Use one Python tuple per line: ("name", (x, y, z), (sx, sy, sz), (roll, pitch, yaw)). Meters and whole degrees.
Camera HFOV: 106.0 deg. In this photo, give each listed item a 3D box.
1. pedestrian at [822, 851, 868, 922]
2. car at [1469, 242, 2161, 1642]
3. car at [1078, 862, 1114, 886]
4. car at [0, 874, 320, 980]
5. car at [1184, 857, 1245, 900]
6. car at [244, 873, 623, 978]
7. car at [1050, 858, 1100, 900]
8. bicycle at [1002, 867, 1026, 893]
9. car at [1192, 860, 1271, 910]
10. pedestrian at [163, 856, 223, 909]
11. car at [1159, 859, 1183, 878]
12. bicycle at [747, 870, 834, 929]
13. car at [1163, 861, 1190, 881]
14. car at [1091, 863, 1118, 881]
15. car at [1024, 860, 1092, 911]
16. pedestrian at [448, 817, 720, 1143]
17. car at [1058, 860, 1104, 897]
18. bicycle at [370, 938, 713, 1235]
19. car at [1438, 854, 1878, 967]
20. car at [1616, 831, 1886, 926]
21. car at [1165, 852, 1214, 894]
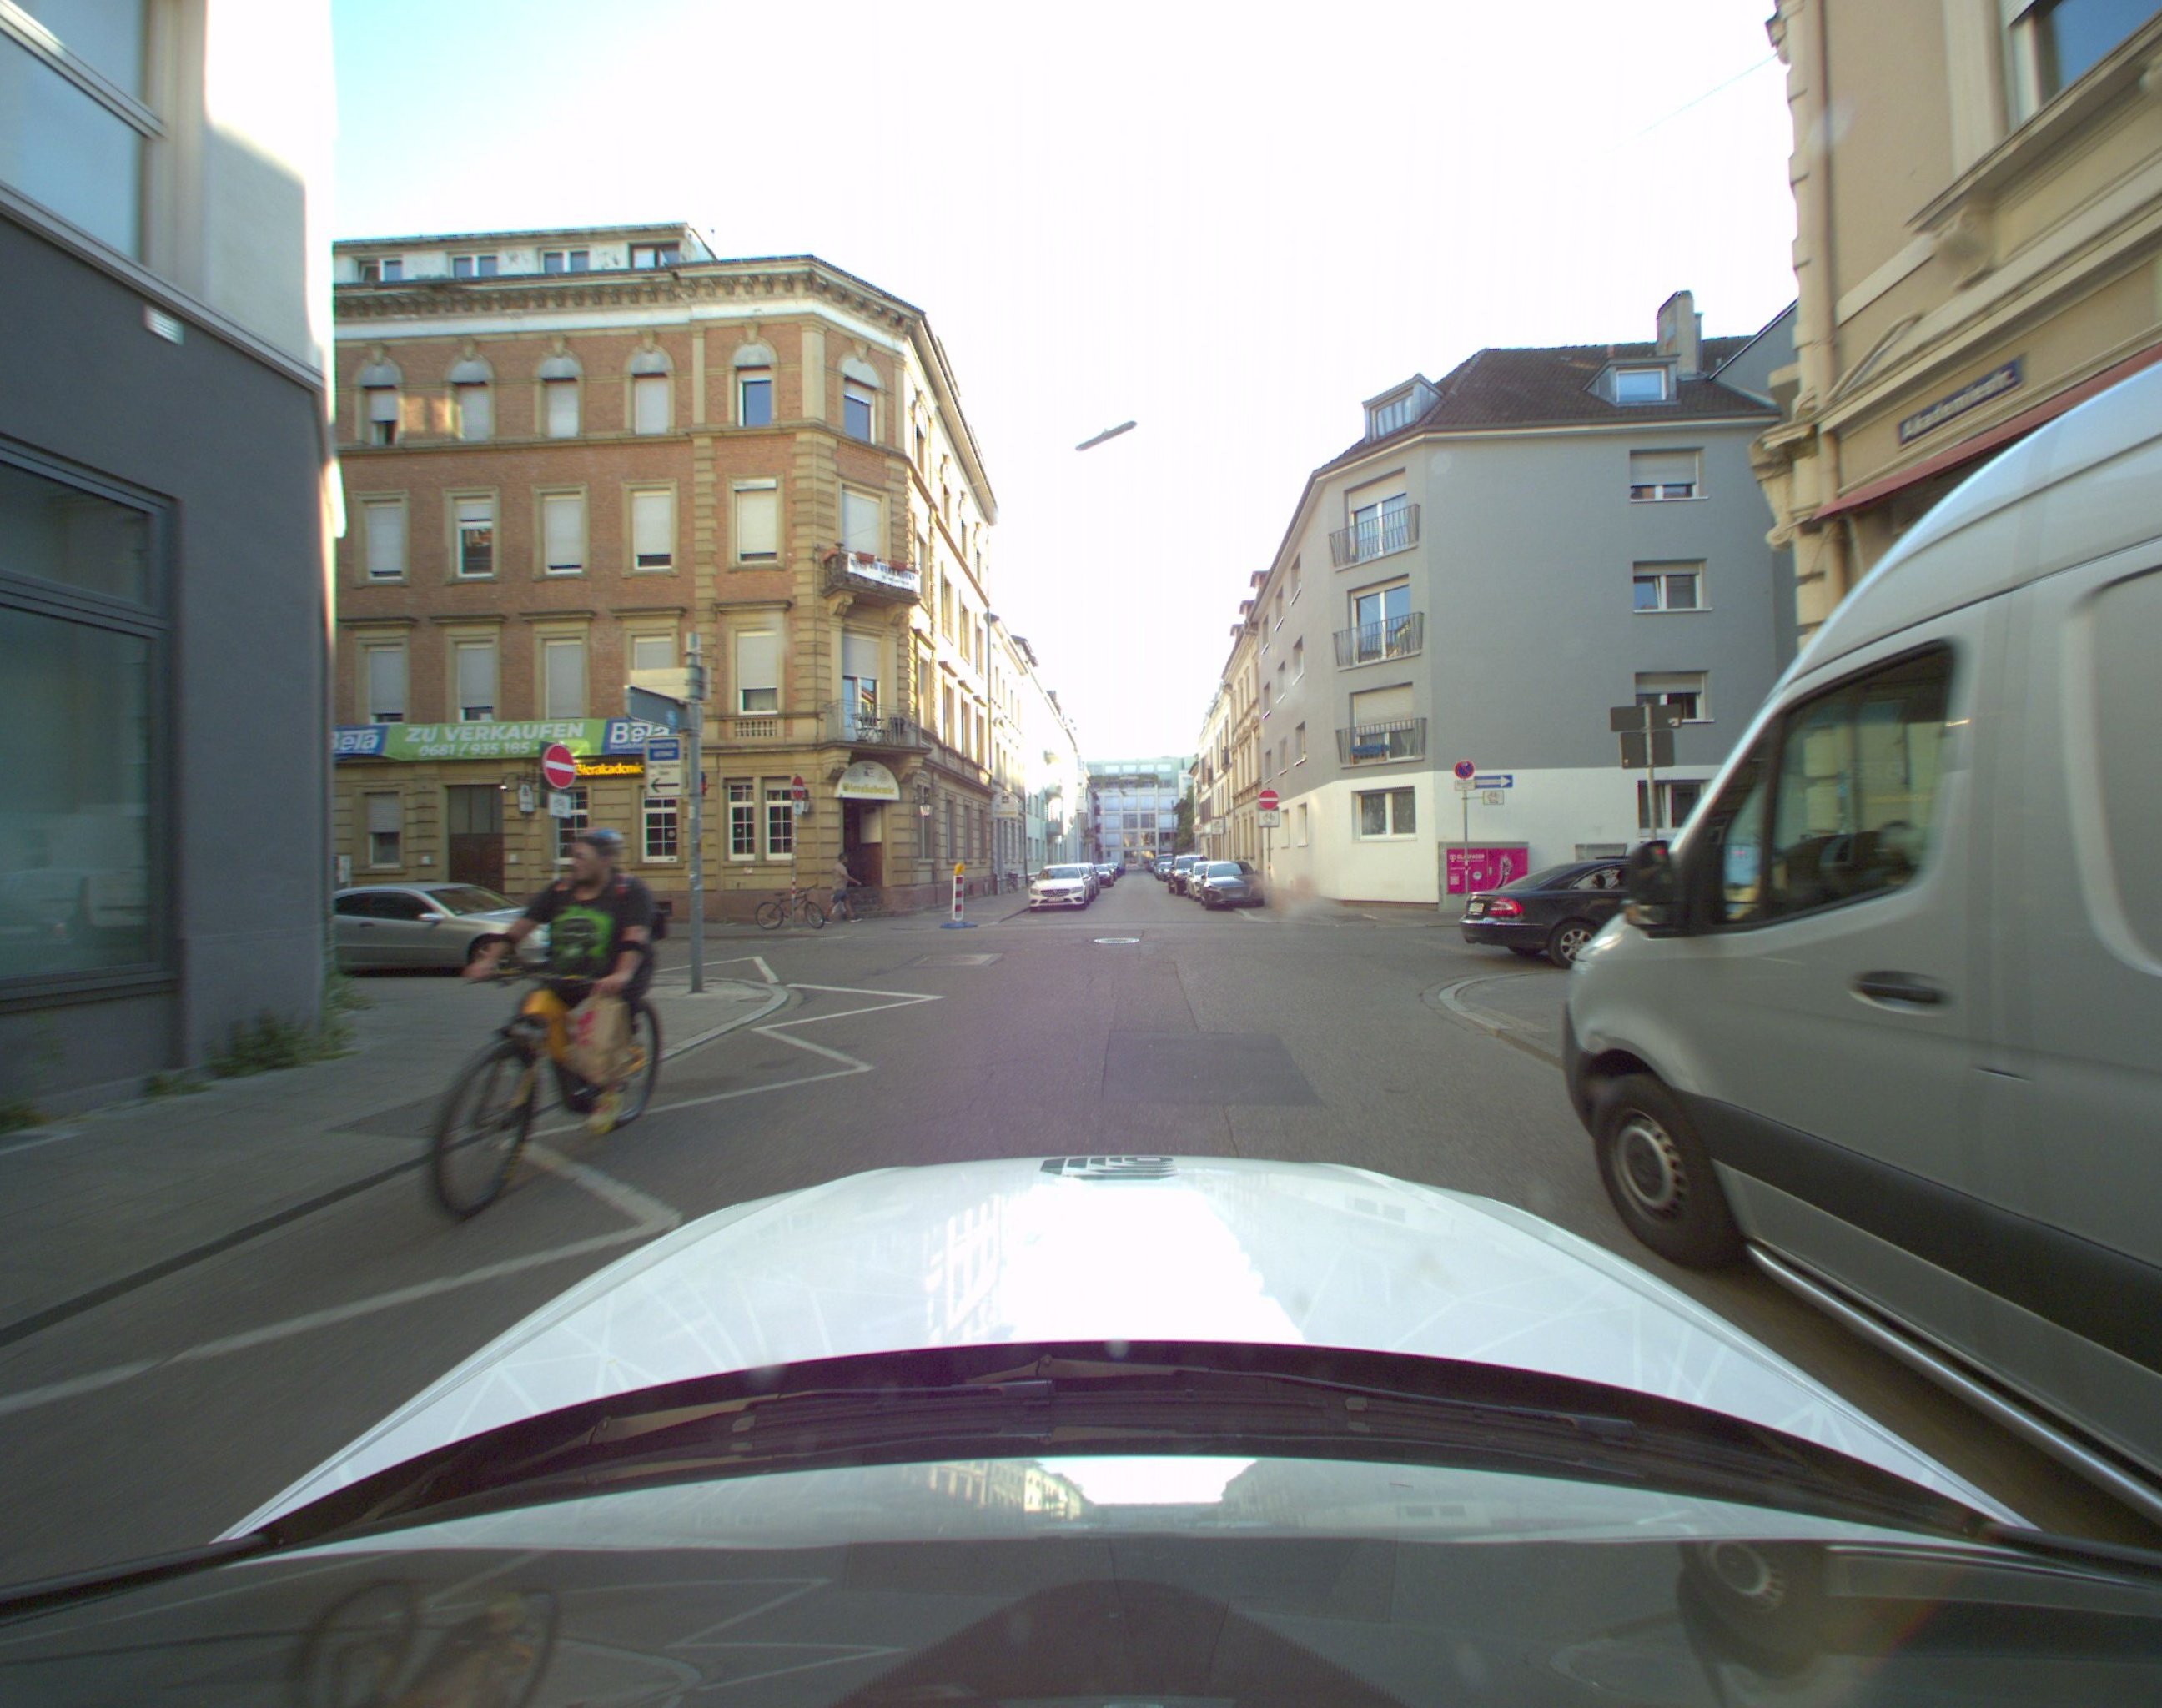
("pedestrian", (-5.906, 0.798, 20.470), (1.014, 1.742, 0.981), (0, -1, -11))
("car", (3.009, 0.149, 1.311), (2.266, 2.439, 6.212), (-1, 0, 5))
("car", (0.959, 1.208, 49.957), (1.985, 1.355, 4.433), (-1, 0, 3))
("car", (-15.272, 1.125, 13.199), (4.085, 1.524, 2.017), (-1, -1, 4))
("car", (5.164, 0.911, 31.880), (1.955, 1.557, 3.892), (-1, 0, 3))
("car", (-9.828, 1.055, 12.597), (4.456, 1.402, 1.757), (-1, 1, 2))
("car", (-0.175, 0.955, 32.861), (1.617, 1.577, 3.759), (-1, -1, 5))
("bicycle", (-3.177, 1.215, 38.786), (0.734, 1.161, 2.464), (0, 0, 4))
("car", (4.670, 0.915, 25.820), (1.930, 1.372, 3.791), (-3, 0, 3))
("pedestrian", (-23.061, 0.719, 21.154), (0.795, 1.339, 0.843), (-1, -1, 24))
("car", (8.049, 1.266, 73.059), (1.985, 1.700, 4.003), (0, 0, 3))
("bicycle", (-6.755, 1.055, 19.008), (1.752, 1.275, 0.661), (-1, 3, 0))
("car", (7.274, 1.284, 62.387), (1.984, 1.451, 4.005), (0, 0, 5))
("car", (1.996, 1.453, 67.855), (2.165, 1.418, 4.001), (-1, 0, 2))
("car", (-0.678, 0.991, 27.432), (1.986, 1.564, 4.508), (-1, 0, 2))
("pedestrian", (-2.622, 0.603, 4.446), (0.827, 1.545, 1.082), (-1, -1, -2))
("car", (0.050, 1.125, 38.602), (1.777, 1.659, 3.822), (-1, -1, 5))
("bicycle", (-2.648, 1.047, 4.316), (0.536, 1.007, 1.980), (-1, 0, -1))
("car", (7.747, 0.743, 11.387), (4.689, 1.408, 1.894), (-1, -1, 6))
("car", (13.718, 0.489, 16.866), (4.154, 1.814, 1.637), (-1, -1, 3))
("car", (4.925, 0.825, 37.328), (1.886, 1.784, 4.003), (-1, -1, 3))
